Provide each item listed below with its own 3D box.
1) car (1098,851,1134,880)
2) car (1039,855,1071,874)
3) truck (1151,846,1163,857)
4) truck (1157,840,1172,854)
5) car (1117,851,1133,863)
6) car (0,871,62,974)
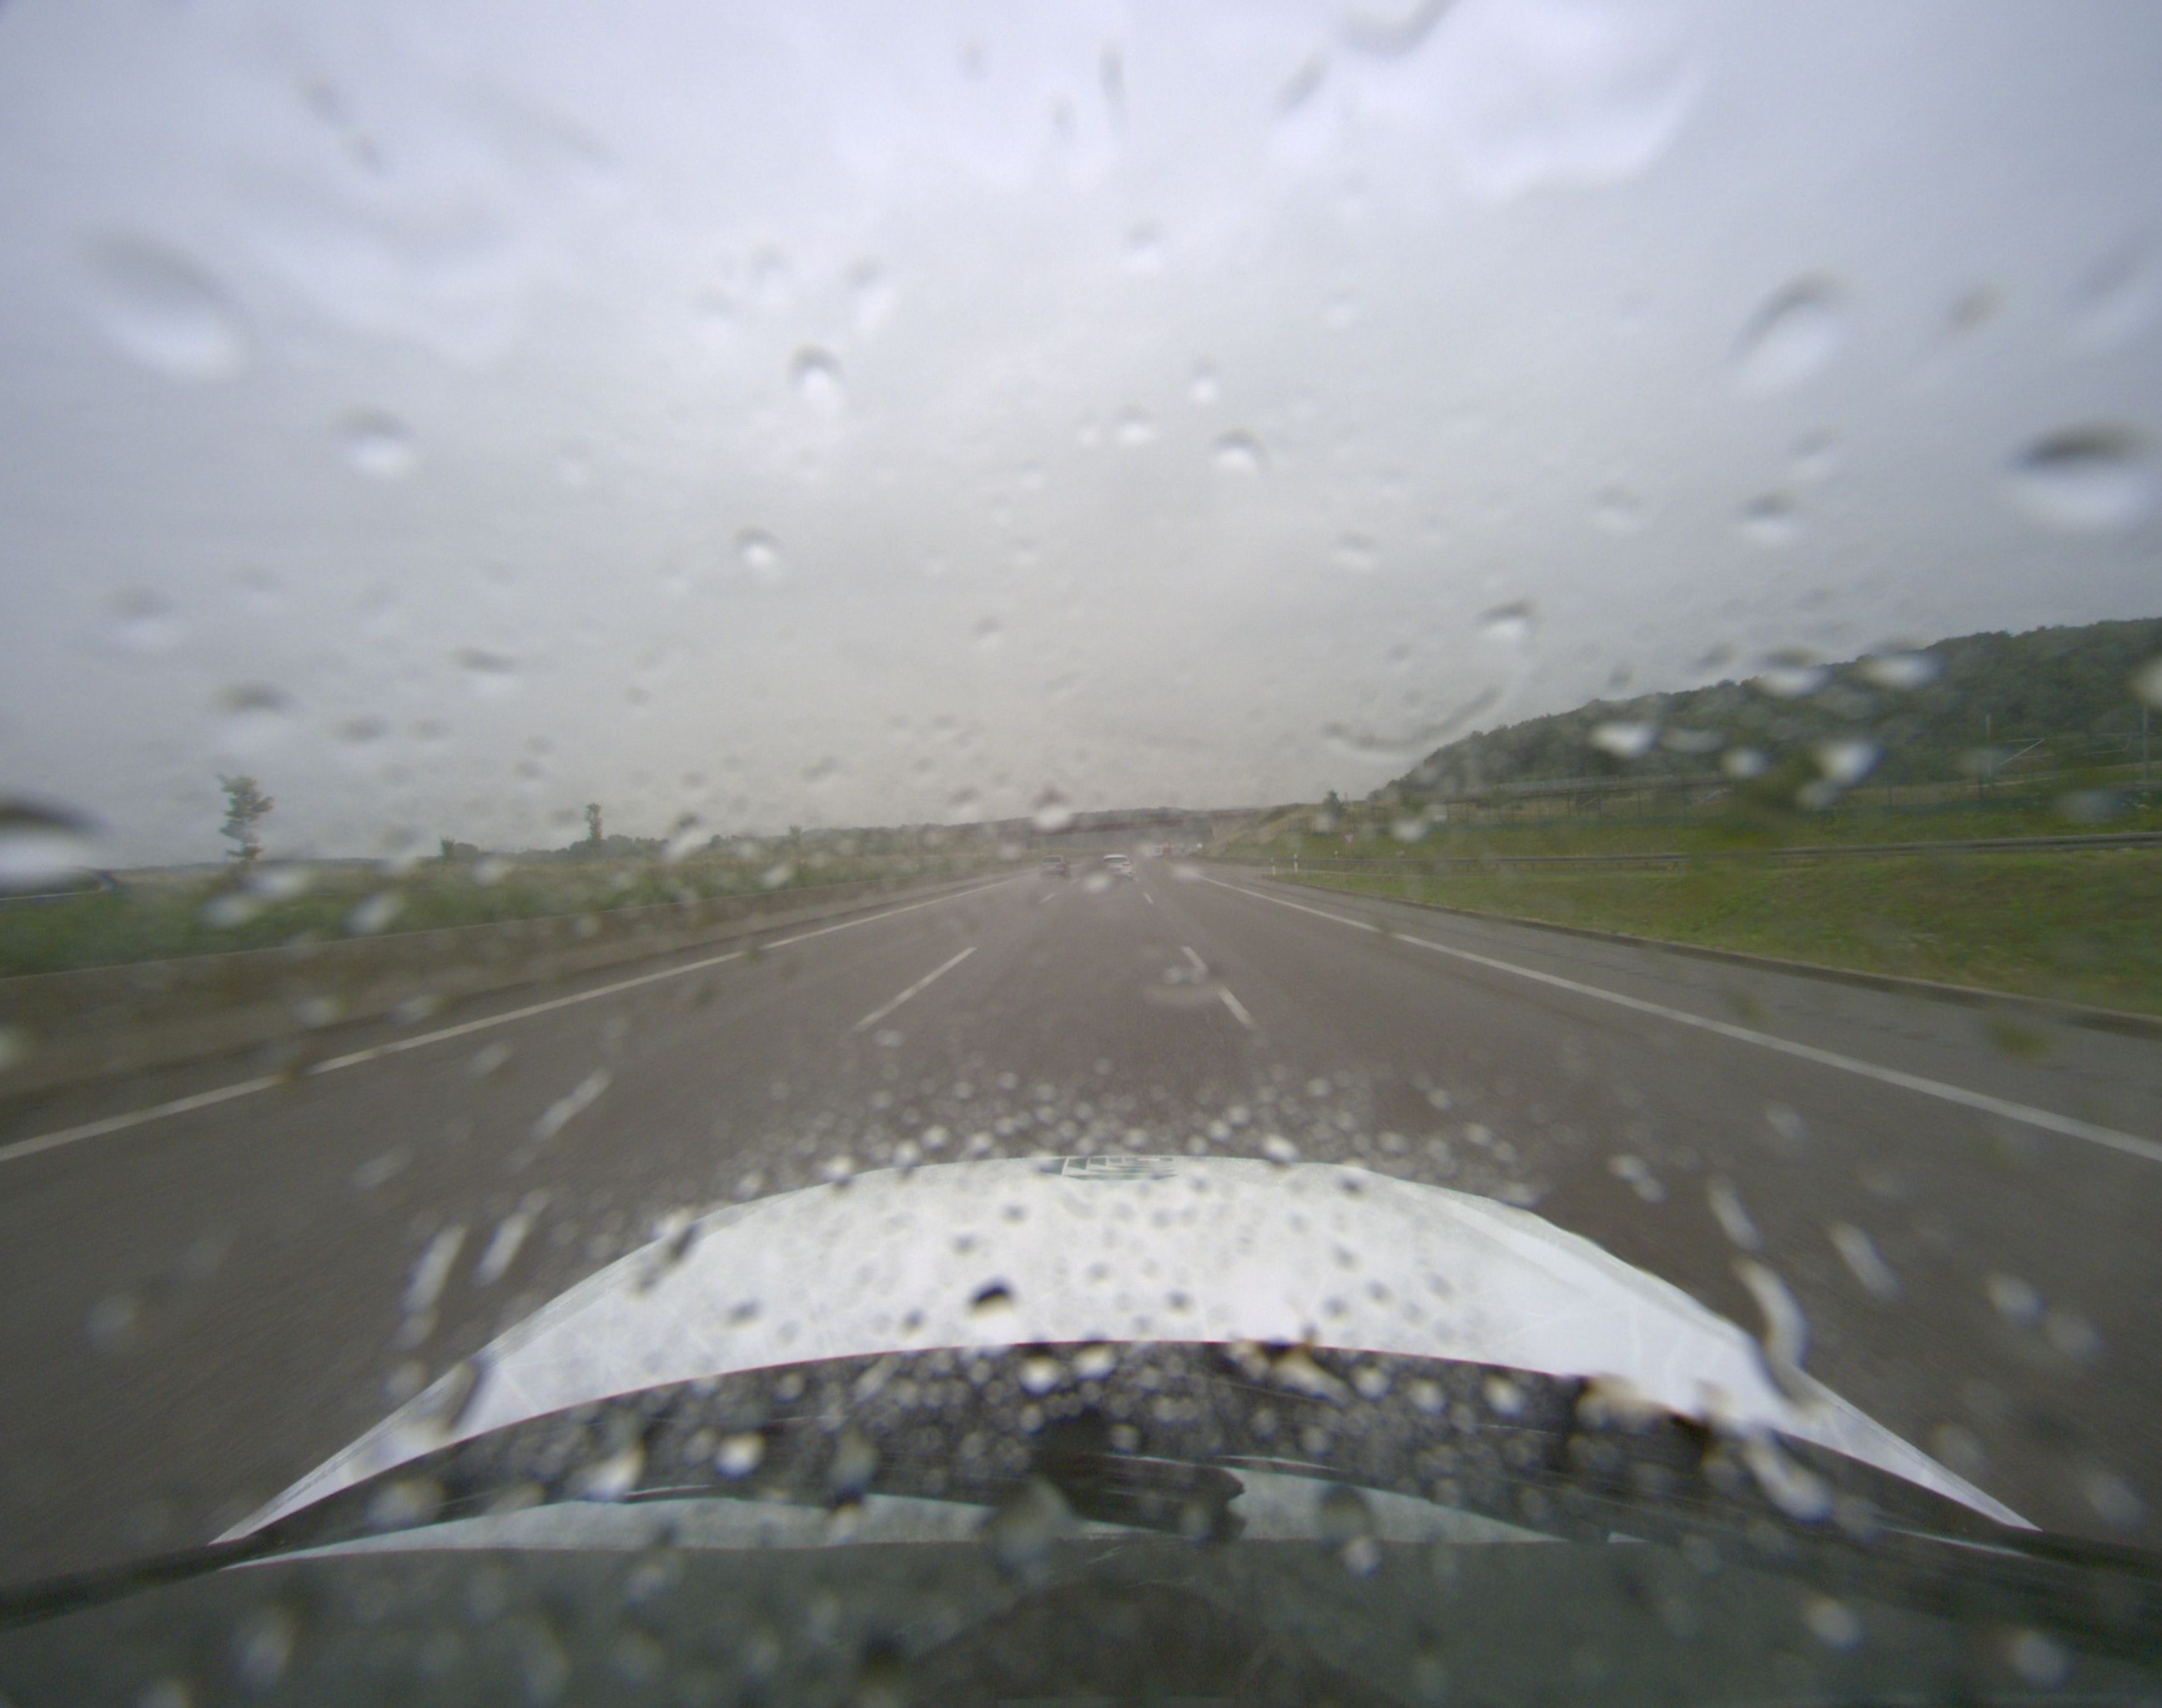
[{"bbox_3d":[1.901,0.624,44.488,1.860,1.463,4.002,-1,0,2],"label":"car"},{"bbox_3d":[-1.610,0.662,51.450,1.817,1.156,4.214,0,-1,1],"label":"car"},{"bbox_3d":[16.307,-0.584,174.439,2.394,2.252,4.704,-1,0,8],"label":"truck"},{"bbox_3d":[23.274,-1.944,227.572,3.512,3.742,11.437,-1,1,3],"label":"truck"},{"bbox_3d":[5.941,0.364,109.492,1.985,1.618,4.004,-1,0,3],"label":"car"},{"bbox_3d":[-18.988,1.179,12.952,1.489,1.727,3.174,-1,0,2],"label":"car"}]
